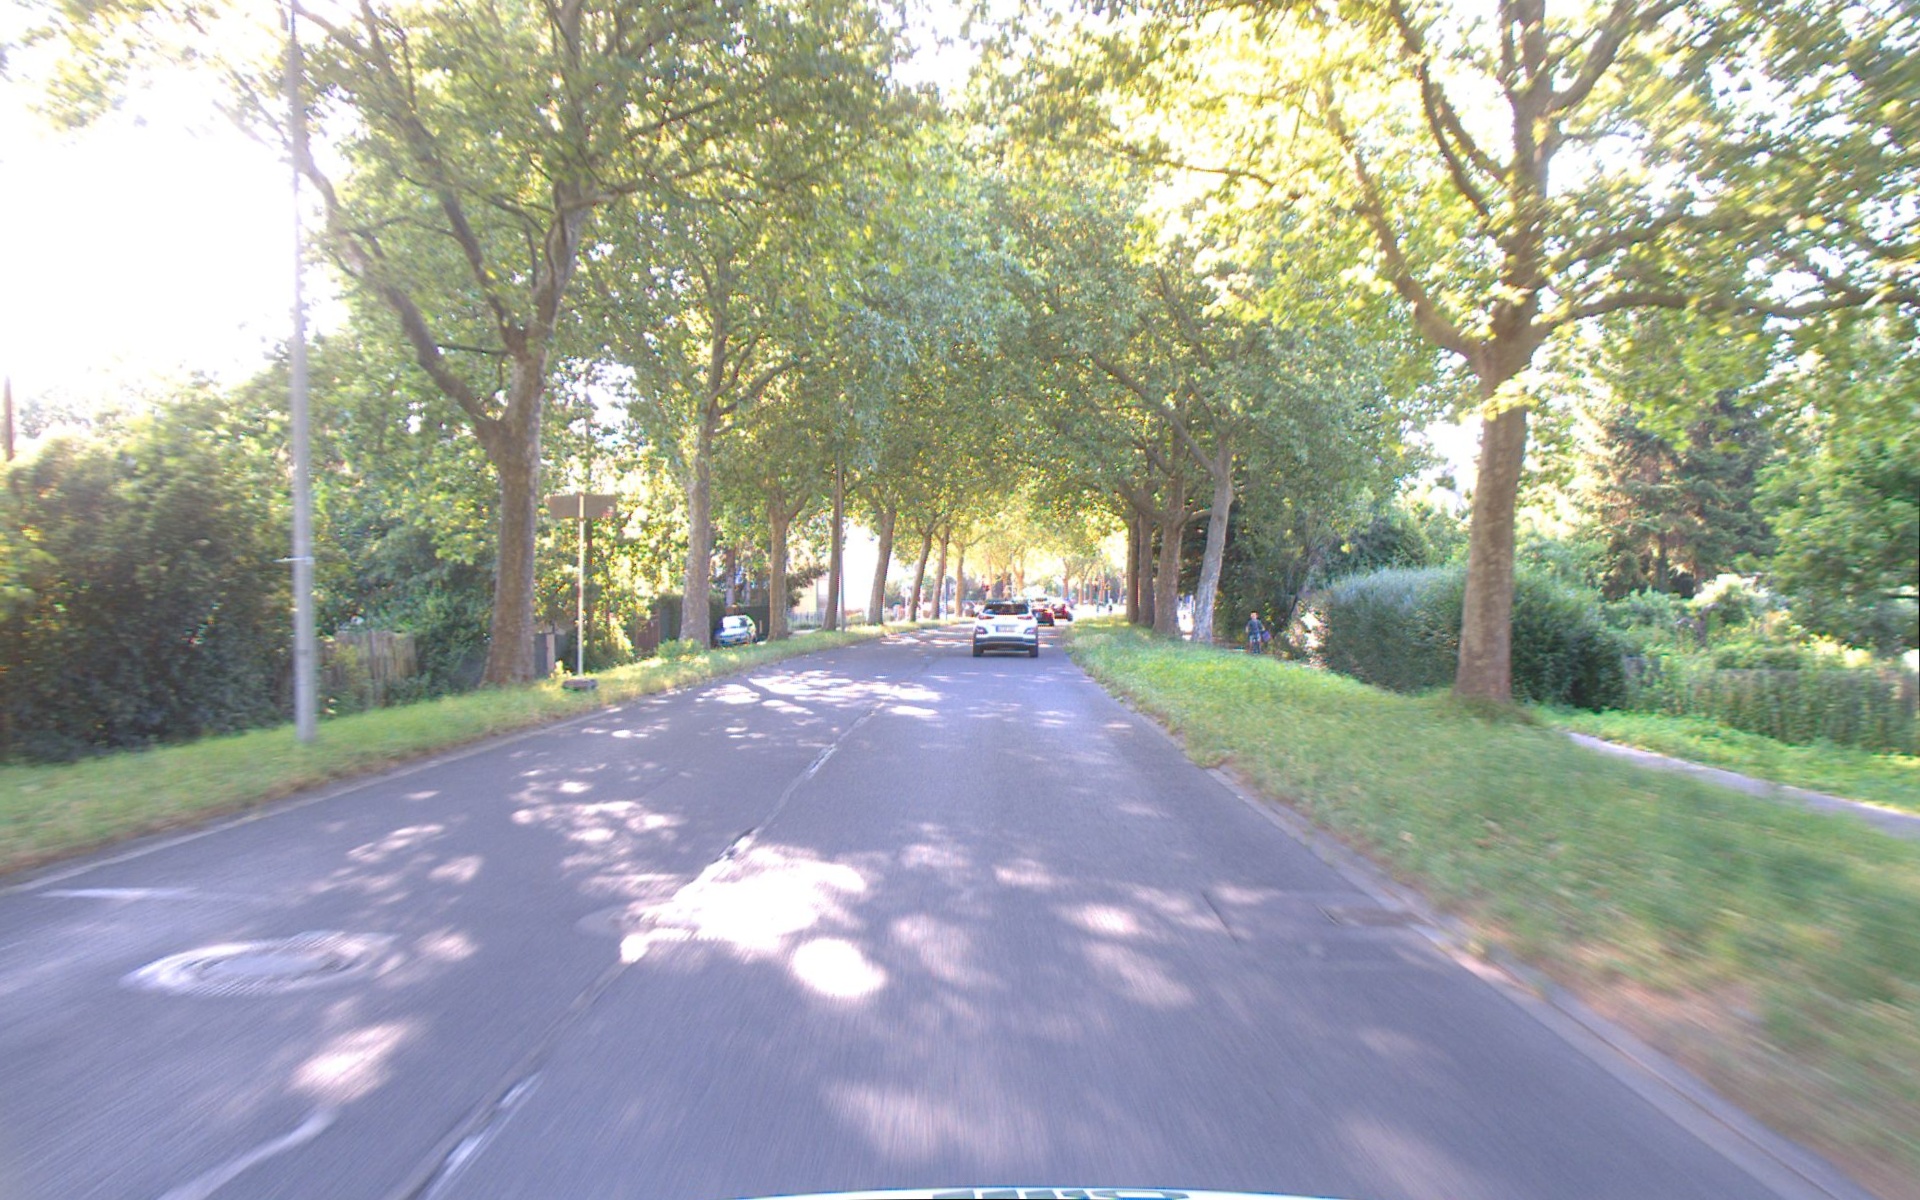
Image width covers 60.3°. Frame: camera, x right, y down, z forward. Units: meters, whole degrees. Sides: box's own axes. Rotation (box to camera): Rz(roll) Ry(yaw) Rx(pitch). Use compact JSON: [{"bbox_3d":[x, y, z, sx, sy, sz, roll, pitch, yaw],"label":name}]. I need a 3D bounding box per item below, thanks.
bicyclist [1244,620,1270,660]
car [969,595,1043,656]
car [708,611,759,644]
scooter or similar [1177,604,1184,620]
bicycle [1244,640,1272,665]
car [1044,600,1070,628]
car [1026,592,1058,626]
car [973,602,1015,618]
[{"bbox_3d":[10.352,1.402,57.688,0.719,1.390,0.770,1,-1,-3],"label":"bicyclist"},{"bbox_3d":[1.301,0.699,45.941,1.952,1.602,4.001,0,-1,2],"label":"car"},{"bbox_3d":[-10.236,1.207,75.018,1.716,1.327,4.000,-1,1,0],"label":"car"},{"bbox_3d":[17.907,0.988,134.533,0.537,1.280,2.315,0,-1,7],"label":"scooter or similar"},{"bbox_3d":[10.349,1.811,57.473,0.541,0.831,1.887,1,-1,-4],"label":"bicycle"},{"bbox_3d":[7.317,1.078,125.262,1.952,2.049,4.001,0,-1,3],"label":"car"},{"bbox_3d":[5.093,0.595,102.654,1.952,2.049,4.001,0,-1,3],"label":"car"},{"bbox_3d":[3.332,0.984,161.498,3.902,1.504,2.001,0,-1,7],"label":"car"}]
